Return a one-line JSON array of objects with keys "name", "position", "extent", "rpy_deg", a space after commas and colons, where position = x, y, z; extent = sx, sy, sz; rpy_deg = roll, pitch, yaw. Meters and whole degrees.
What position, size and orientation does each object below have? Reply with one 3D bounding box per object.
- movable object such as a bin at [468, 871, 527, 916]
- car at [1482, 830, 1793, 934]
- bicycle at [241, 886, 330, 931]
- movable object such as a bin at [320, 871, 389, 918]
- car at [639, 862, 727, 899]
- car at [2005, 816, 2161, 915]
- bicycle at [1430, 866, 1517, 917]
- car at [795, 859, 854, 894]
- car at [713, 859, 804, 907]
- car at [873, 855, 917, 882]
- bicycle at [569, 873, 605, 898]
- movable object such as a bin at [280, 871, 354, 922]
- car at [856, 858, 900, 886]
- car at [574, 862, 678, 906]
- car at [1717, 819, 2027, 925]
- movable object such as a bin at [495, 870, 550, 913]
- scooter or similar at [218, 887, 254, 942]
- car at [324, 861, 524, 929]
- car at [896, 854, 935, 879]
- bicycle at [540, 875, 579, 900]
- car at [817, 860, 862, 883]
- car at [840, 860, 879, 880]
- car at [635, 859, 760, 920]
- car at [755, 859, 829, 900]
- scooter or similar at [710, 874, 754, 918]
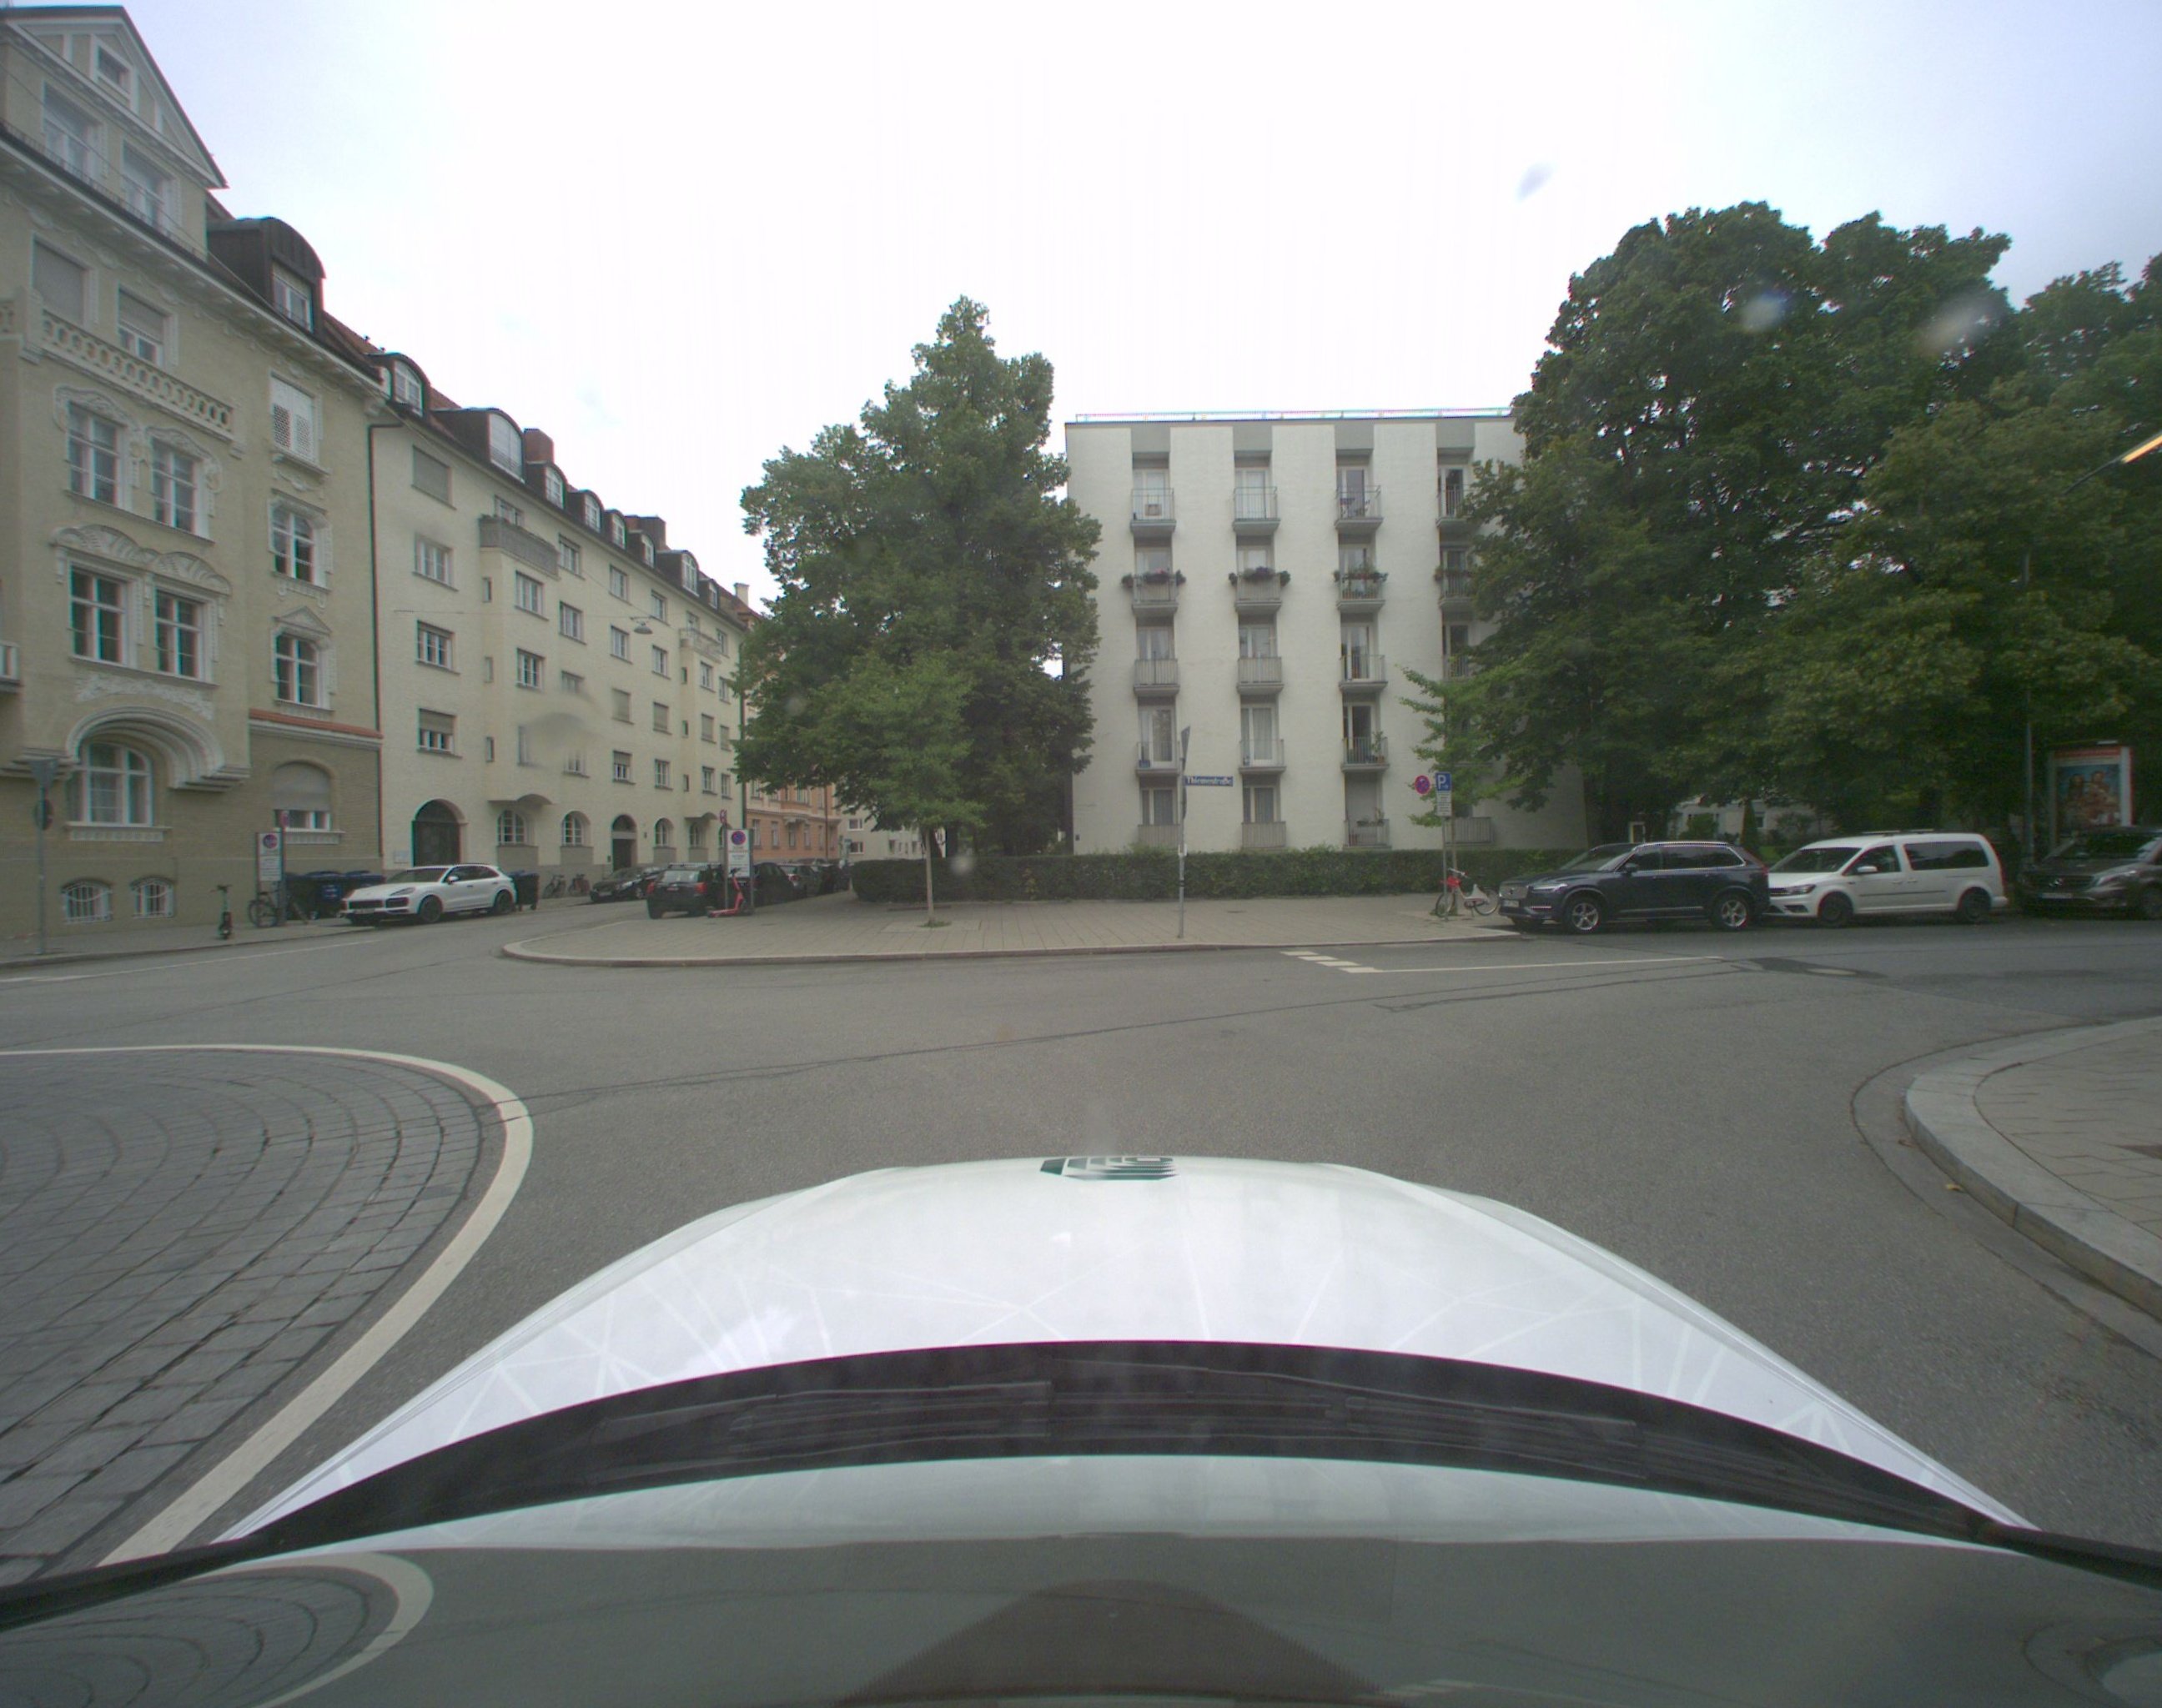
[{"name": "movable object such as a bin", "position": [-19.694, 1.314, 27.496], "extent": [1.087, 1.425, 1.174], "rpy_deg": [-2, 0, 2]}, {"name": "car", "position": [10.838, 0.527, 16.078], "extent": [4.888, 1.792, 1.997], "rpy_deg": [-1, -1, -5]}, {"name": "bicycle", "position": [-21.214, 1.425, 21.778], "extent": [0.561, 1.049, 1.830], "rpy_deg": [-2, 0, 0]}, {"name": "movable object such as a bin", "position": [-22.965, 1.264, 25.762], "extent": [1.087, 1.425, 1.174], "rpy_deg": [-2, 0, 2]}, {"name": "car", "position": [-19.249, 1.255, 39.602], "extent": [1.968, 1.581, 4.410], "rpy_deg": [-1, 0, 2]}, {"name": "car", "position": [22.982, 0.189, 17.339], "extent": [5.189, 1.933, 1.887], "rpy_deg": [-1, -1, -9]}, {"name": "bicycle", "position": [8.905, 0.837, 18.490], "extent": [1.825, 1.049, 0.490], "rpy_deg": [-2, 0, -11]}, {"name": "car", "position": [-12.382, 1.035, 39.577], "extent": [1.790, 1.505, 4.108], "rpy_deg": [-3, 0, -5]}, {"name": "car", "position": [-11.472, 0.974, 29.244], "extent": [1.790, 1.505, 4.227], "rpy_deg": [-3, 0, -5]}, {"name": "car", "position": [-12.567, 0.942, 55.301], "extent": [1.828, 1.634, 4.116], "rpy_deg": [-3, 0, 1]}, {"name": "bicycle", "position": [-23.460, 1.485, 38.683], "extent": [0.561, 1.049, 1.830], "rpy_deg": [-2, 0, 0]}, {"name": "movable object such as a bin", "position": [-23.013, 1.266, 24.565], "extent": [1.087, 1.425, 1.174], "rpy_deg": [-2, 0, 2]}, {"name": "car", "position": [-12.594, 1.085, 50.688], "extent": [1.831, 1.505, 4.111], "rpy_deg": [-3, 0, -3]}, {"name": "car", "position": [-19.244, 1.217, 34.718], "extent": [1.971, 1.616, 4.707], "rpy_deg": [-1, 0, -3]}, {"name": "car", "position": [16.054, 0.347, 16.661], "extent": [4.826, 1.918, 1.832], "rpy_deg": [-1, -1, -6]}, {"name": "movable object such as a bin", "position": [-19.660, 1.317, 28.687], "extent": [1.087, 1.425, 1.174], "rpy_deg": [-2, 0, 2]}, {"name": "scooter or similar", "position": [-19.650, 1.384, 18.941], "extent": [1.200, 1.193, 0.470], "rpy_deg": [-1, 0, 39]}, {"name": "car", "position": [-19.190, 1.123, 24.154], "extent": [1.969, 1.700, 4.839], "rpy_deg": [-1, 0, 0]}, {"name": "car", "position": [-12.338, 0.907, 60.969], "extent": [1.827, 1.634, 3.823], "rpy_deg": [-3, 0, 3]}, {"name": "bicycle", "position": [-23.451, 1.486, 36.663], "extent": [0.561, 1.049, 1.830], "rpy_deg": [-2, 0, 0]}, {"name": "car", "position": [-18.697, 1.335, 63.283], "extent": [1.968, 1.581, 4.410], "rpy_deg": [-1, 0, 2]}, {"name": "car", "position": [-18.984, 1.364, 69.869], "extent": [1.968, 1.581, 4.410], "rpy_deg": [-1, 0, 2]}, {"name": "car", "position": [-11.125, 0.953, 23.998], "extent": [1.816, 1.505, 4.415], "rpy_deg": [-3, 0, -5]}, {"name": "car", "position": [-11.902, 1.001, 33.810], "extent": [1.790, 1.505, 4.108], "rpy_deg": [-3, 0, -5]}, {"name": "scooter or similar", "position": [-9.116, 1.093, 21.267], "extent": [1.004, 1.088, 0.387], "rpy_deg": [-1, 0, -28]}]
